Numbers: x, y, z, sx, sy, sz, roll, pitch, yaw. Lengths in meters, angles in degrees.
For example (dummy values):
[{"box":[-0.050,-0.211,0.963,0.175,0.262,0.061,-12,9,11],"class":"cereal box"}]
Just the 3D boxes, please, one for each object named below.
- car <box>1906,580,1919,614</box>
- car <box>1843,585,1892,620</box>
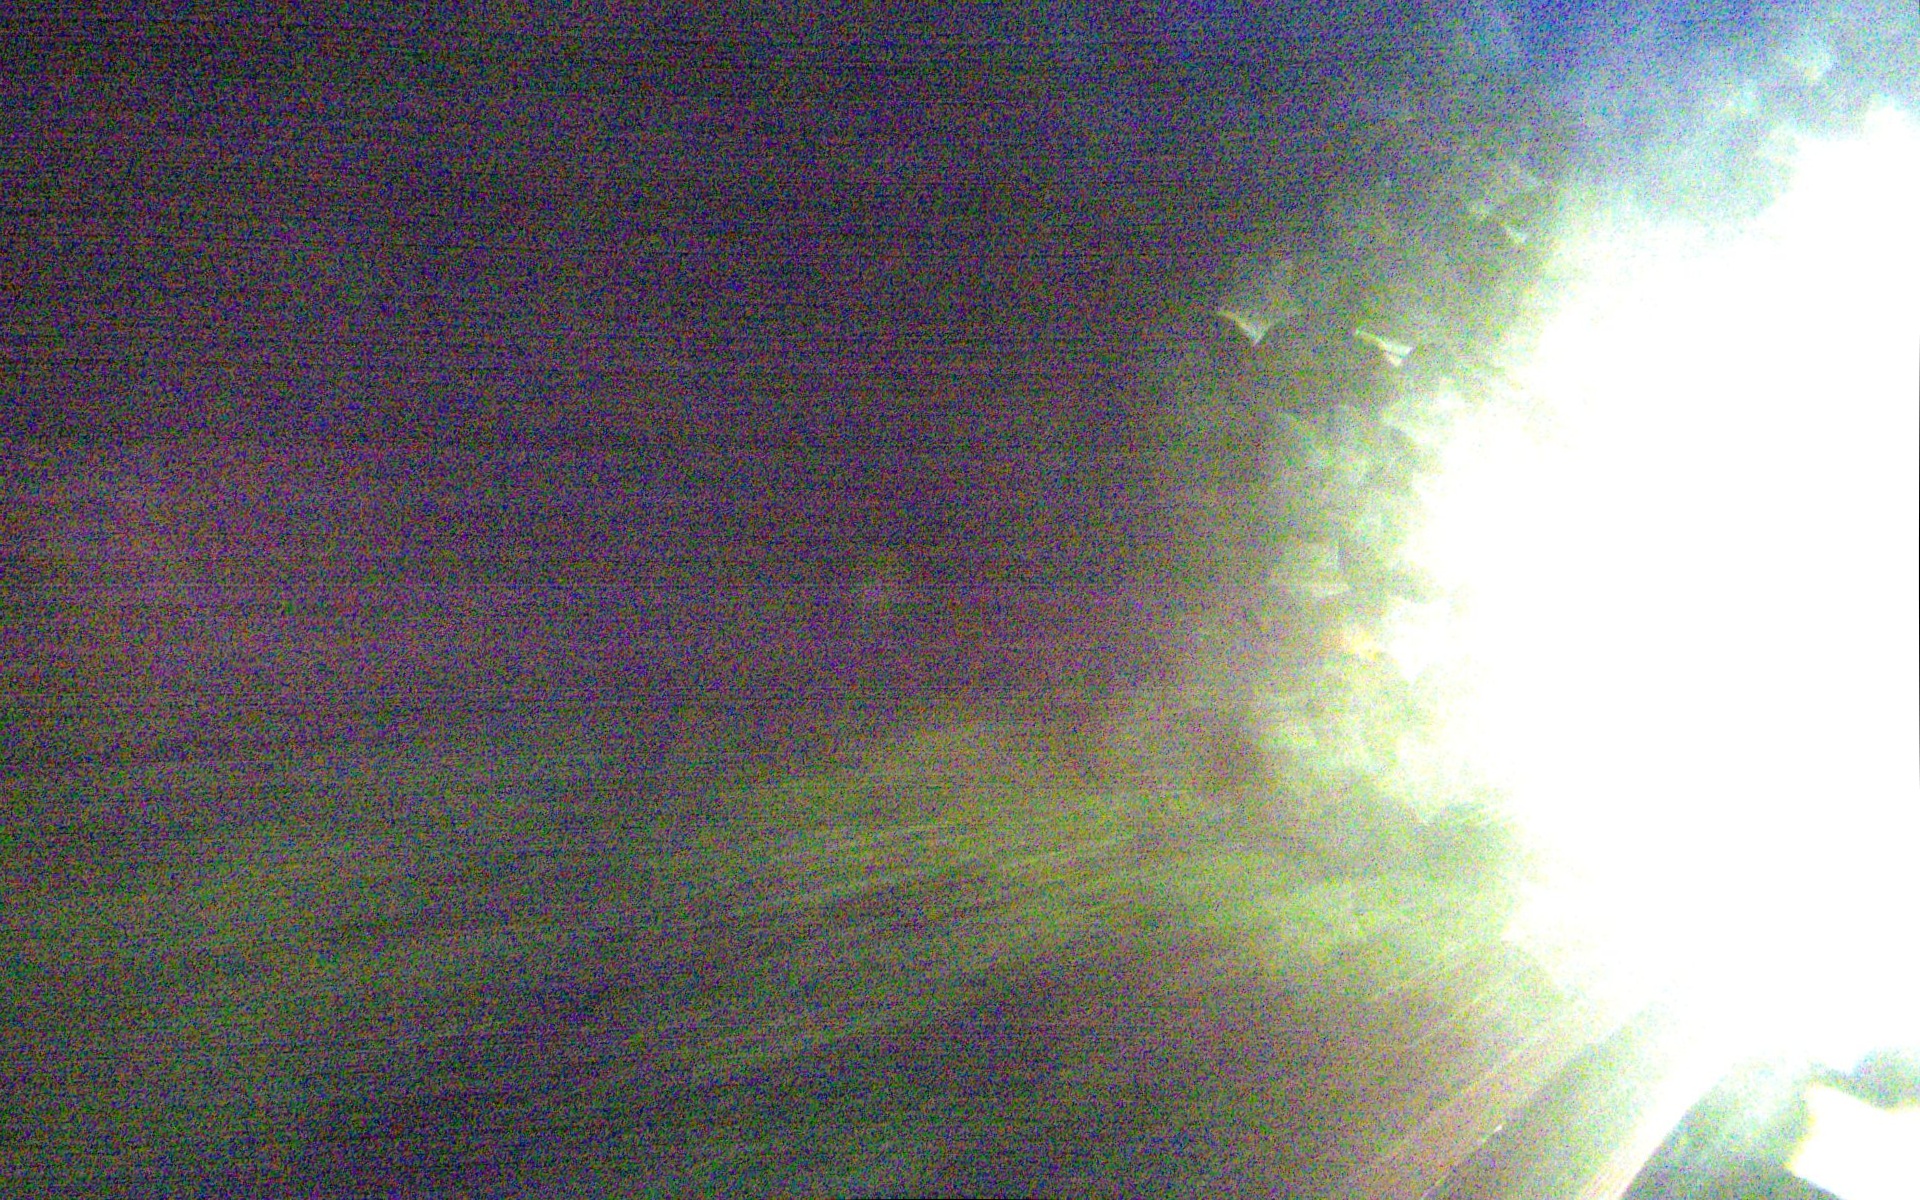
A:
[{"box":[57.989,-0.198,60.412,3.933,2.039,1.995,-1,1,-43],"class":"car"},{"box":[48.468,0.123,54.112,1.700,1.794,3.945,0,1,38],"class":"car"}]
